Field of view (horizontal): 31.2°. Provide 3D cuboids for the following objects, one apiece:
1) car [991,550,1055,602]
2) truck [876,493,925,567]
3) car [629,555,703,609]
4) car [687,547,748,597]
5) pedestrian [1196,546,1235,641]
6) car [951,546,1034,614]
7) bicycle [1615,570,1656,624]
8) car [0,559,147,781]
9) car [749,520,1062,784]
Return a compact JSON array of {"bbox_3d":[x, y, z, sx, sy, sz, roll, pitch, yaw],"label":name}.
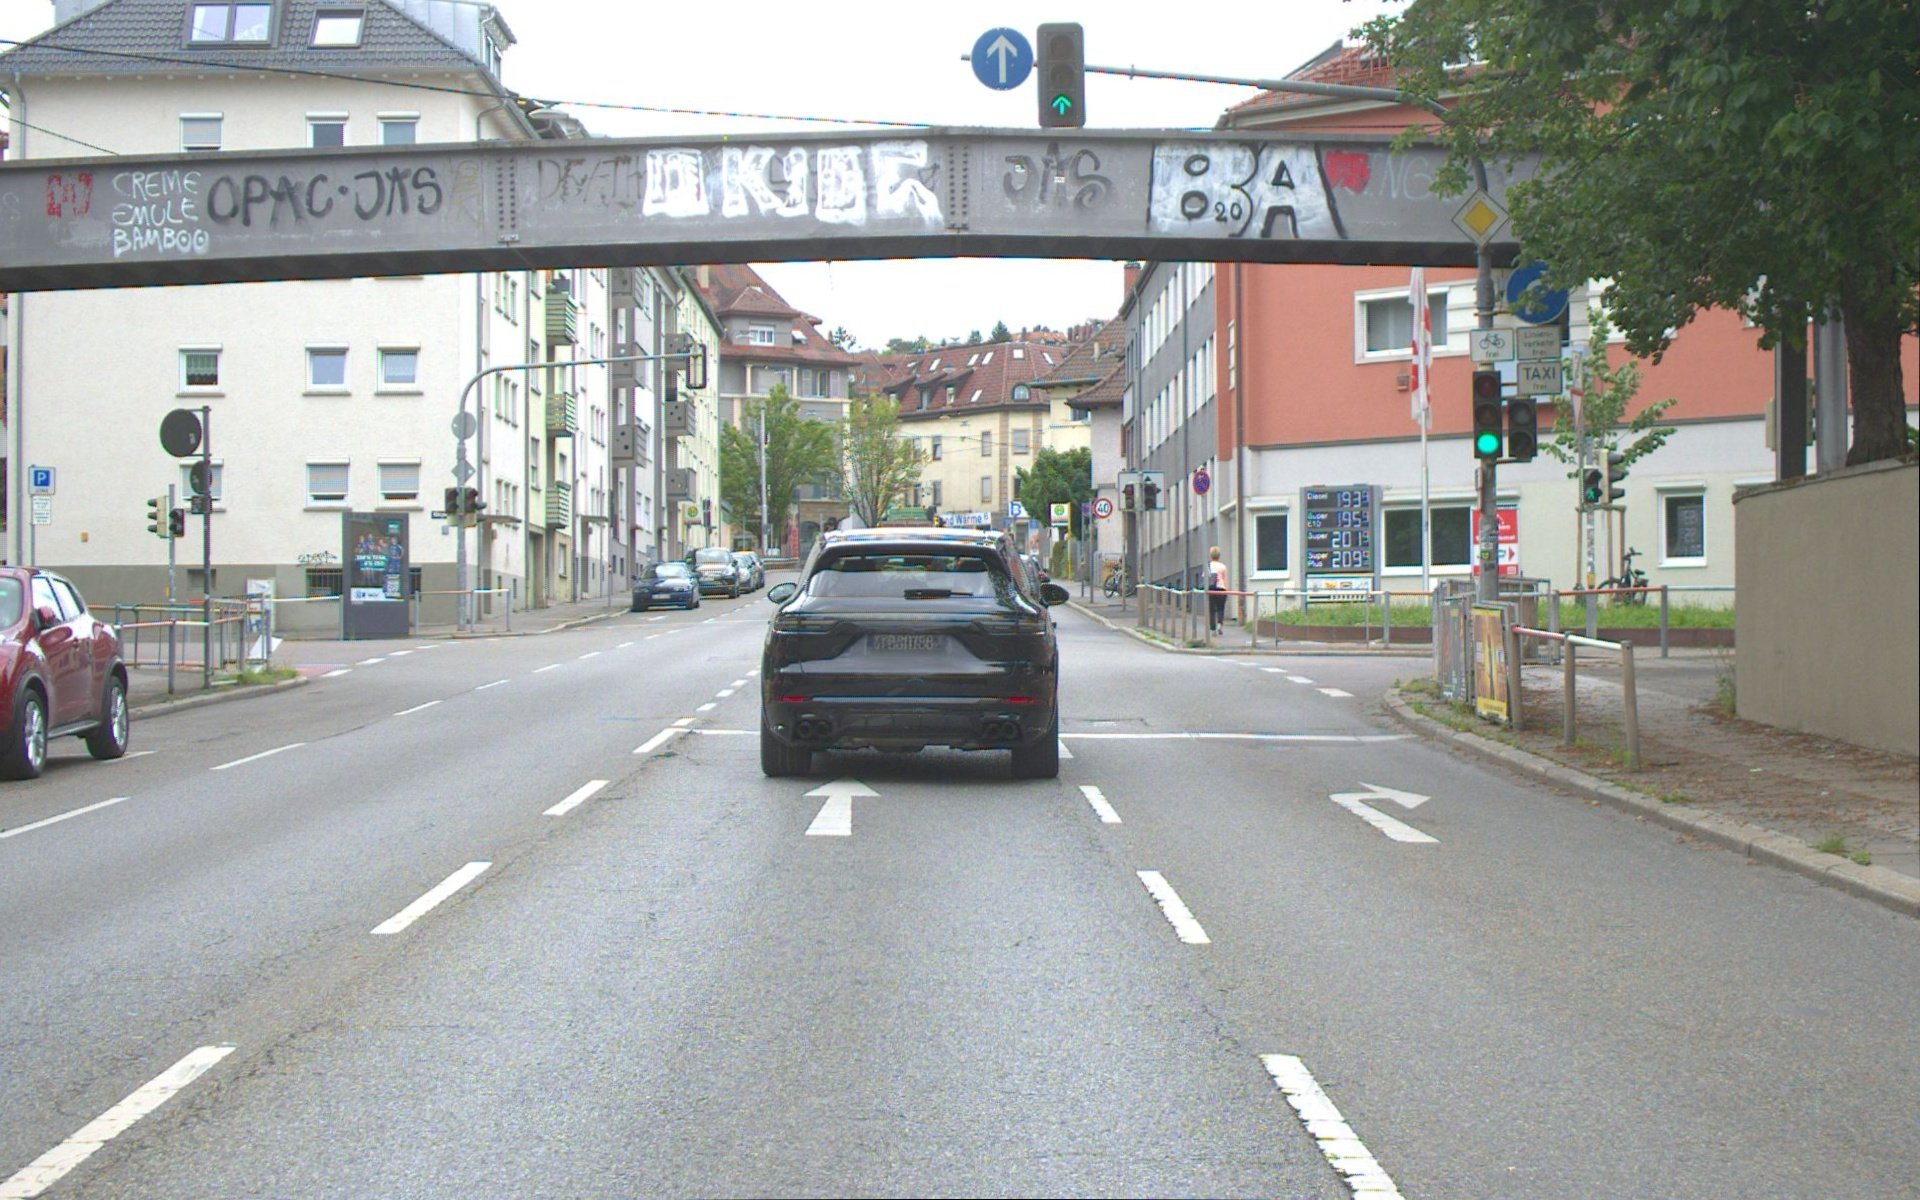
[{"bbox_3d":[1.804,-0.695,98.831,1.741,1.395,4.000,0,2,0],"label":"car"},{"bbox_3d":[-2.842,-3.344,165.180,2.266,3.412,9.879,0,1,-1],"label":"truck"},{"bbox_3d":[-8.449,-0.540,98.881,1.765,1.503,4.000,0,1,0],"label":"car"},{"bbox_3d":[-8.134,-0.948,115.491,1.765,1.644,4.000,0,1,0],"label":"car"},{"bbox_3d":[4.791,-0.129,64.507,0.652,1.786,0.715,0,1,-3],"label":"pedestrian"},{"bbox_3d":[0.691,-0.458,74.975,1.741,1.395,4.000,0,2,0],"label":"car"},{"bbox_3d":[11.544,-0.057,58.742,0.341,0.900,1.741,0,1,23],"label":"bicycle"},{"bbox_3d":[-7.409,0.491,26.085,1.533,1.535,3.982,-2,1,-1],"label":"car"},{"bbox_3d":[-0.358,0.284,23.979,1.993,1.656,4.000,0,2,0],"label":"car"}]
